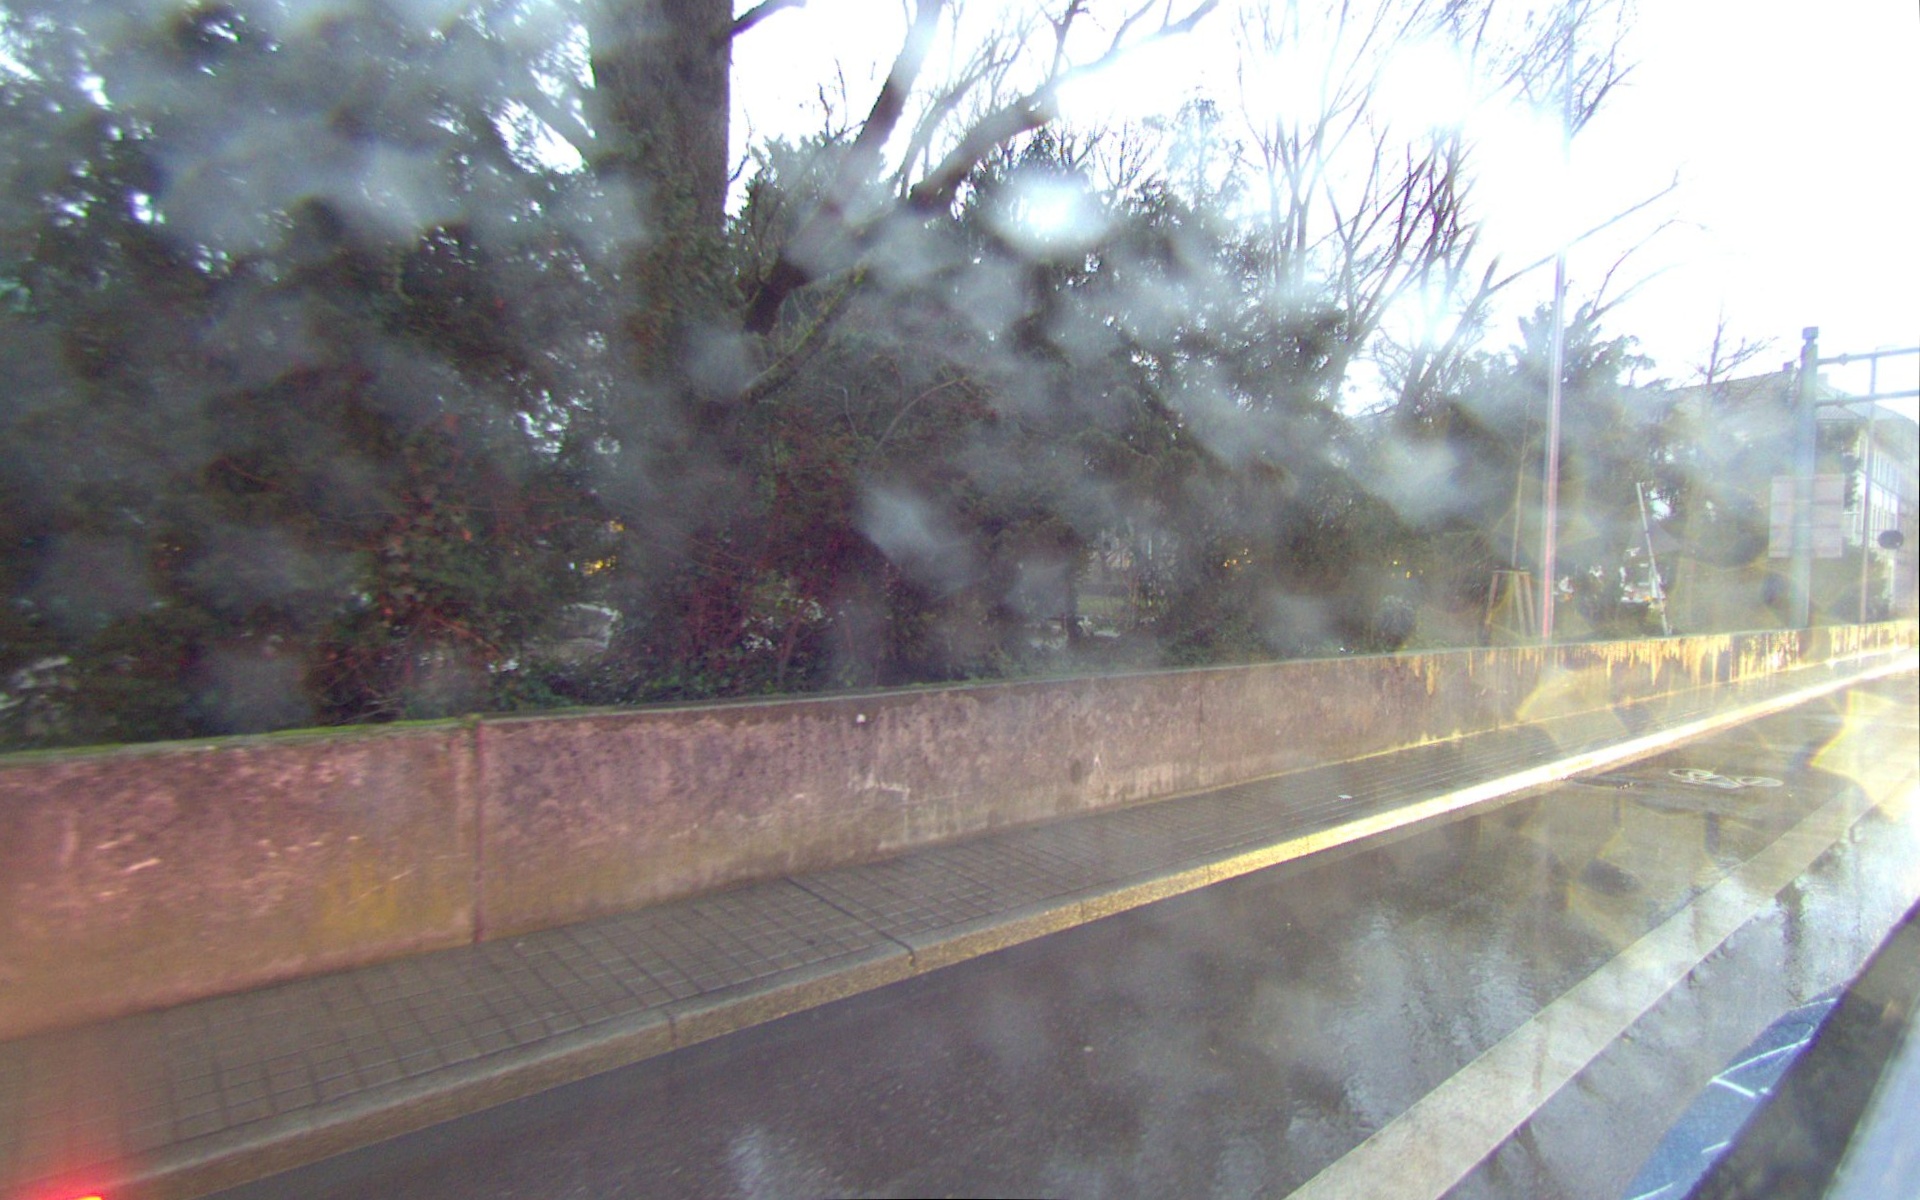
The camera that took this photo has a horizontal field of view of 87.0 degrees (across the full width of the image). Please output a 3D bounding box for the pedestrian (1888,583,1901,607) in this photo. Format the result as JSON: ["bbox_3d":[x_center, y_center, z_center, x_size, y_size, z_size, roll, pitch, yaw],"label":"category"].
[{"bbox_3d":[61.436,-0.328,66.524,0.577,1.529,0.520,1,2,-41],"label":"pedestrian"}]

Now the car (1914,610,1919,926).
[{"bbox_3d":[6.258,0.740,5.091,3.913,1.388,1.796,0,1,-42],"label":"car"}]
